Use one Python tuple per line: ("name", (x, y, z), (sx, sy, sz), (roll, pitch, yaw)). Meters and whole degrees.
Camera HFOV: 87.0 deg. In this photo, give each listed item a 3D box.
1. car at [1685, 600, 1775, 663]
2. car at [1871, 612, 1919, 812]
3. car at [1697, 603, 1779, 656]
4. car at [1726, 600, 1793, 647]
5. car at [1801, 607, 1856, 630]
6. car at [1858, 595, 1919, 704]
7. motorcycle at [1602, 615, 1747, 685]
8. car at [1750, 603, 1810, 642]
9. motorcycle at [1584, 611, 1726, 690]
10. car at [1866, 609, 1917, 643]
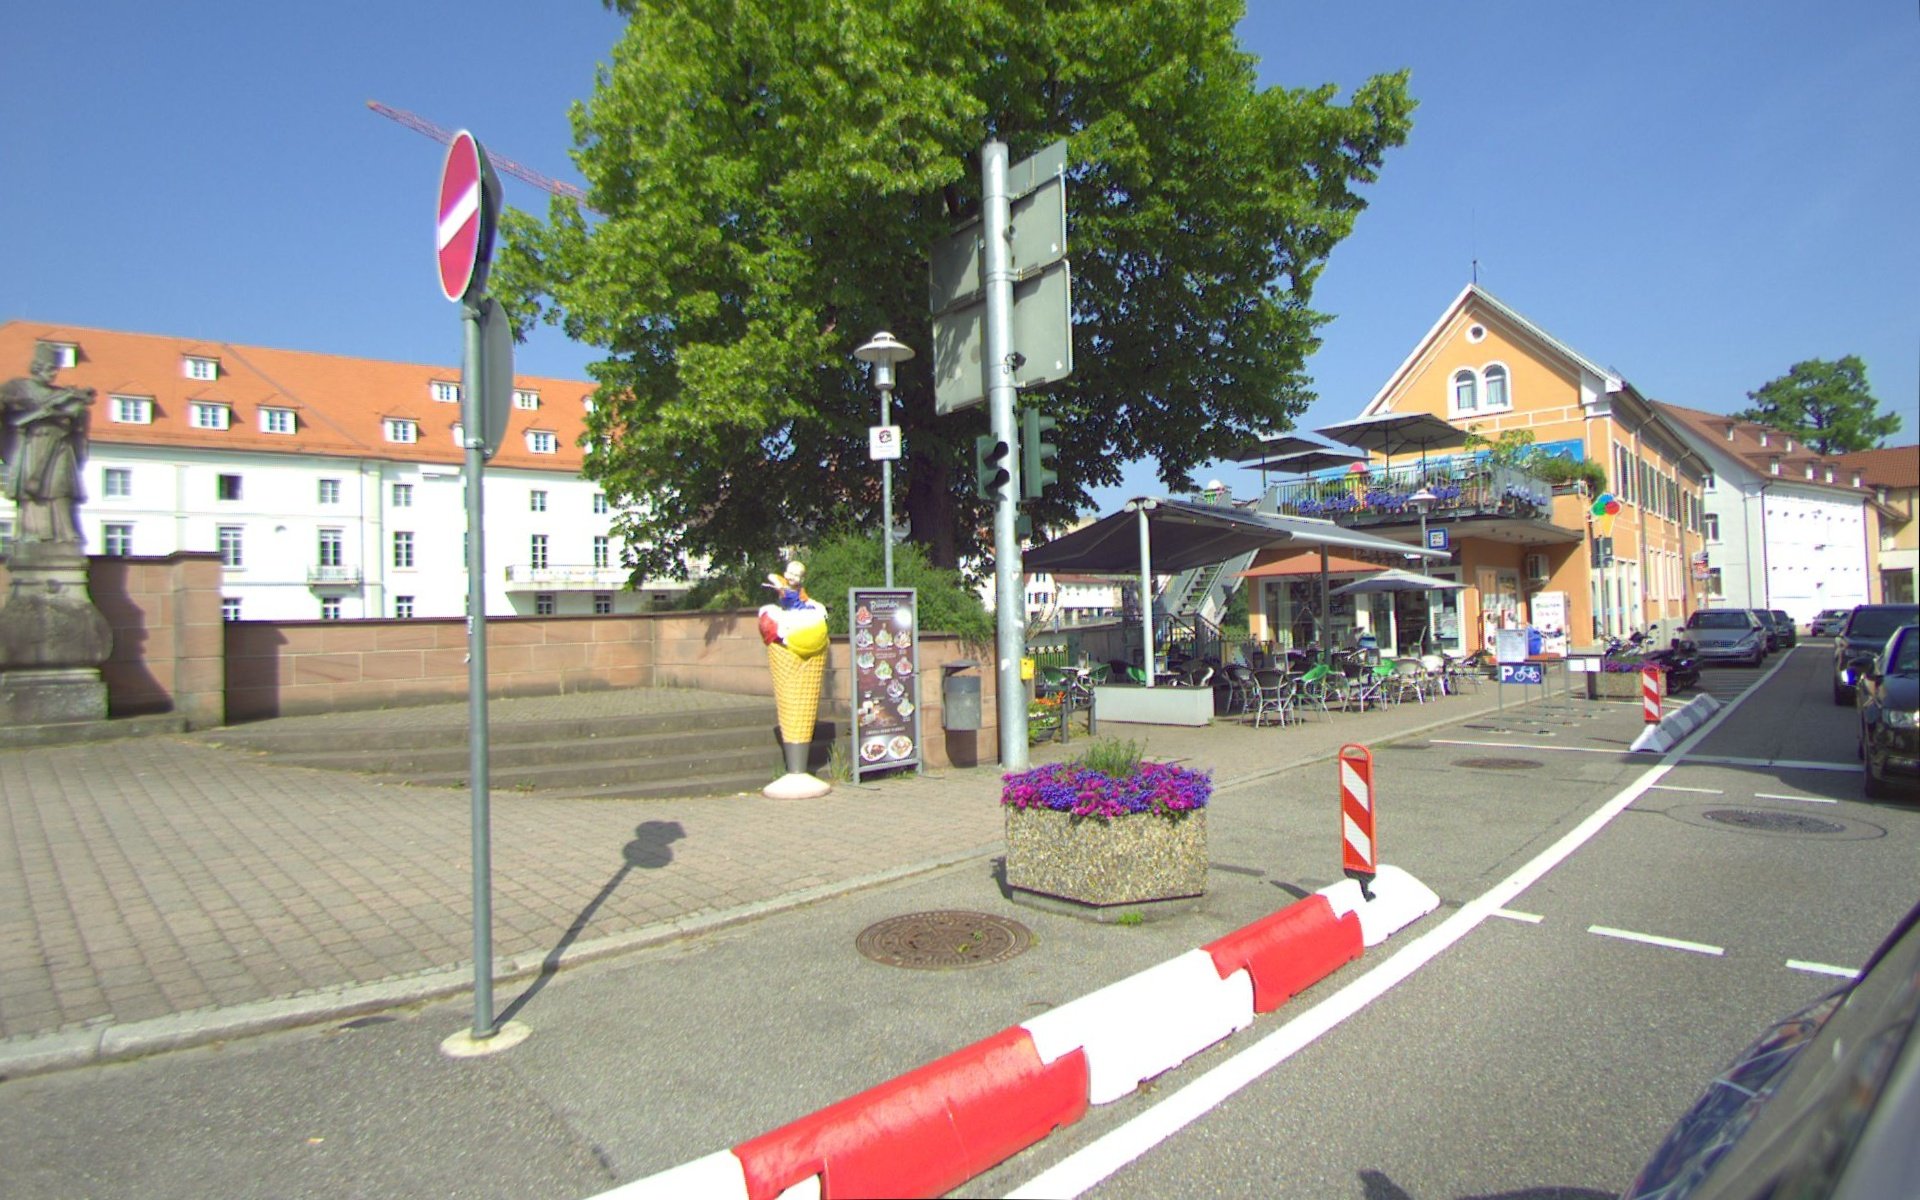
("car", (21.742, 0.857, 28.514), (1.742, 1.618, 4.527), (-3, -2, 40))
("car", (8.545, 0.795, 8.137), (1.750, 1.374, 4.134), (-1, -1, 43))
("car", (24.836, 0.907, 32.260), (1.677, 1.579, 4.040), (-3, -2, 43))
("car", (30.102, 0.852, 38.065), (1.678, 1.666, 4.185), (-1, -1, 43))
("car", (47.686, 1.007, 55.554), (3.960, 1.260, 1.527), (0, -2, -38))
("car", (15.347, 0.725, 15.949), (1.678, 1.581, 3.909), (-2, -2, 43))
("motorcycle", (13.680, 0.954, 19.433), (2.052, 1.286, 0.928), (-1, -1, 3))
("car", (34.154, 0.916, 42.129), (1.678, 1.559, 4.121), (-1, -1, 43))
("motorcycle", (12.669, 0.912, 18.511), (1.868, 1.375, 0.915), (-1, -1, 8))
("car", (44.915, 1.226, 48.765), (1.679, 1.581, 3.288), (-2, -2, 44))
